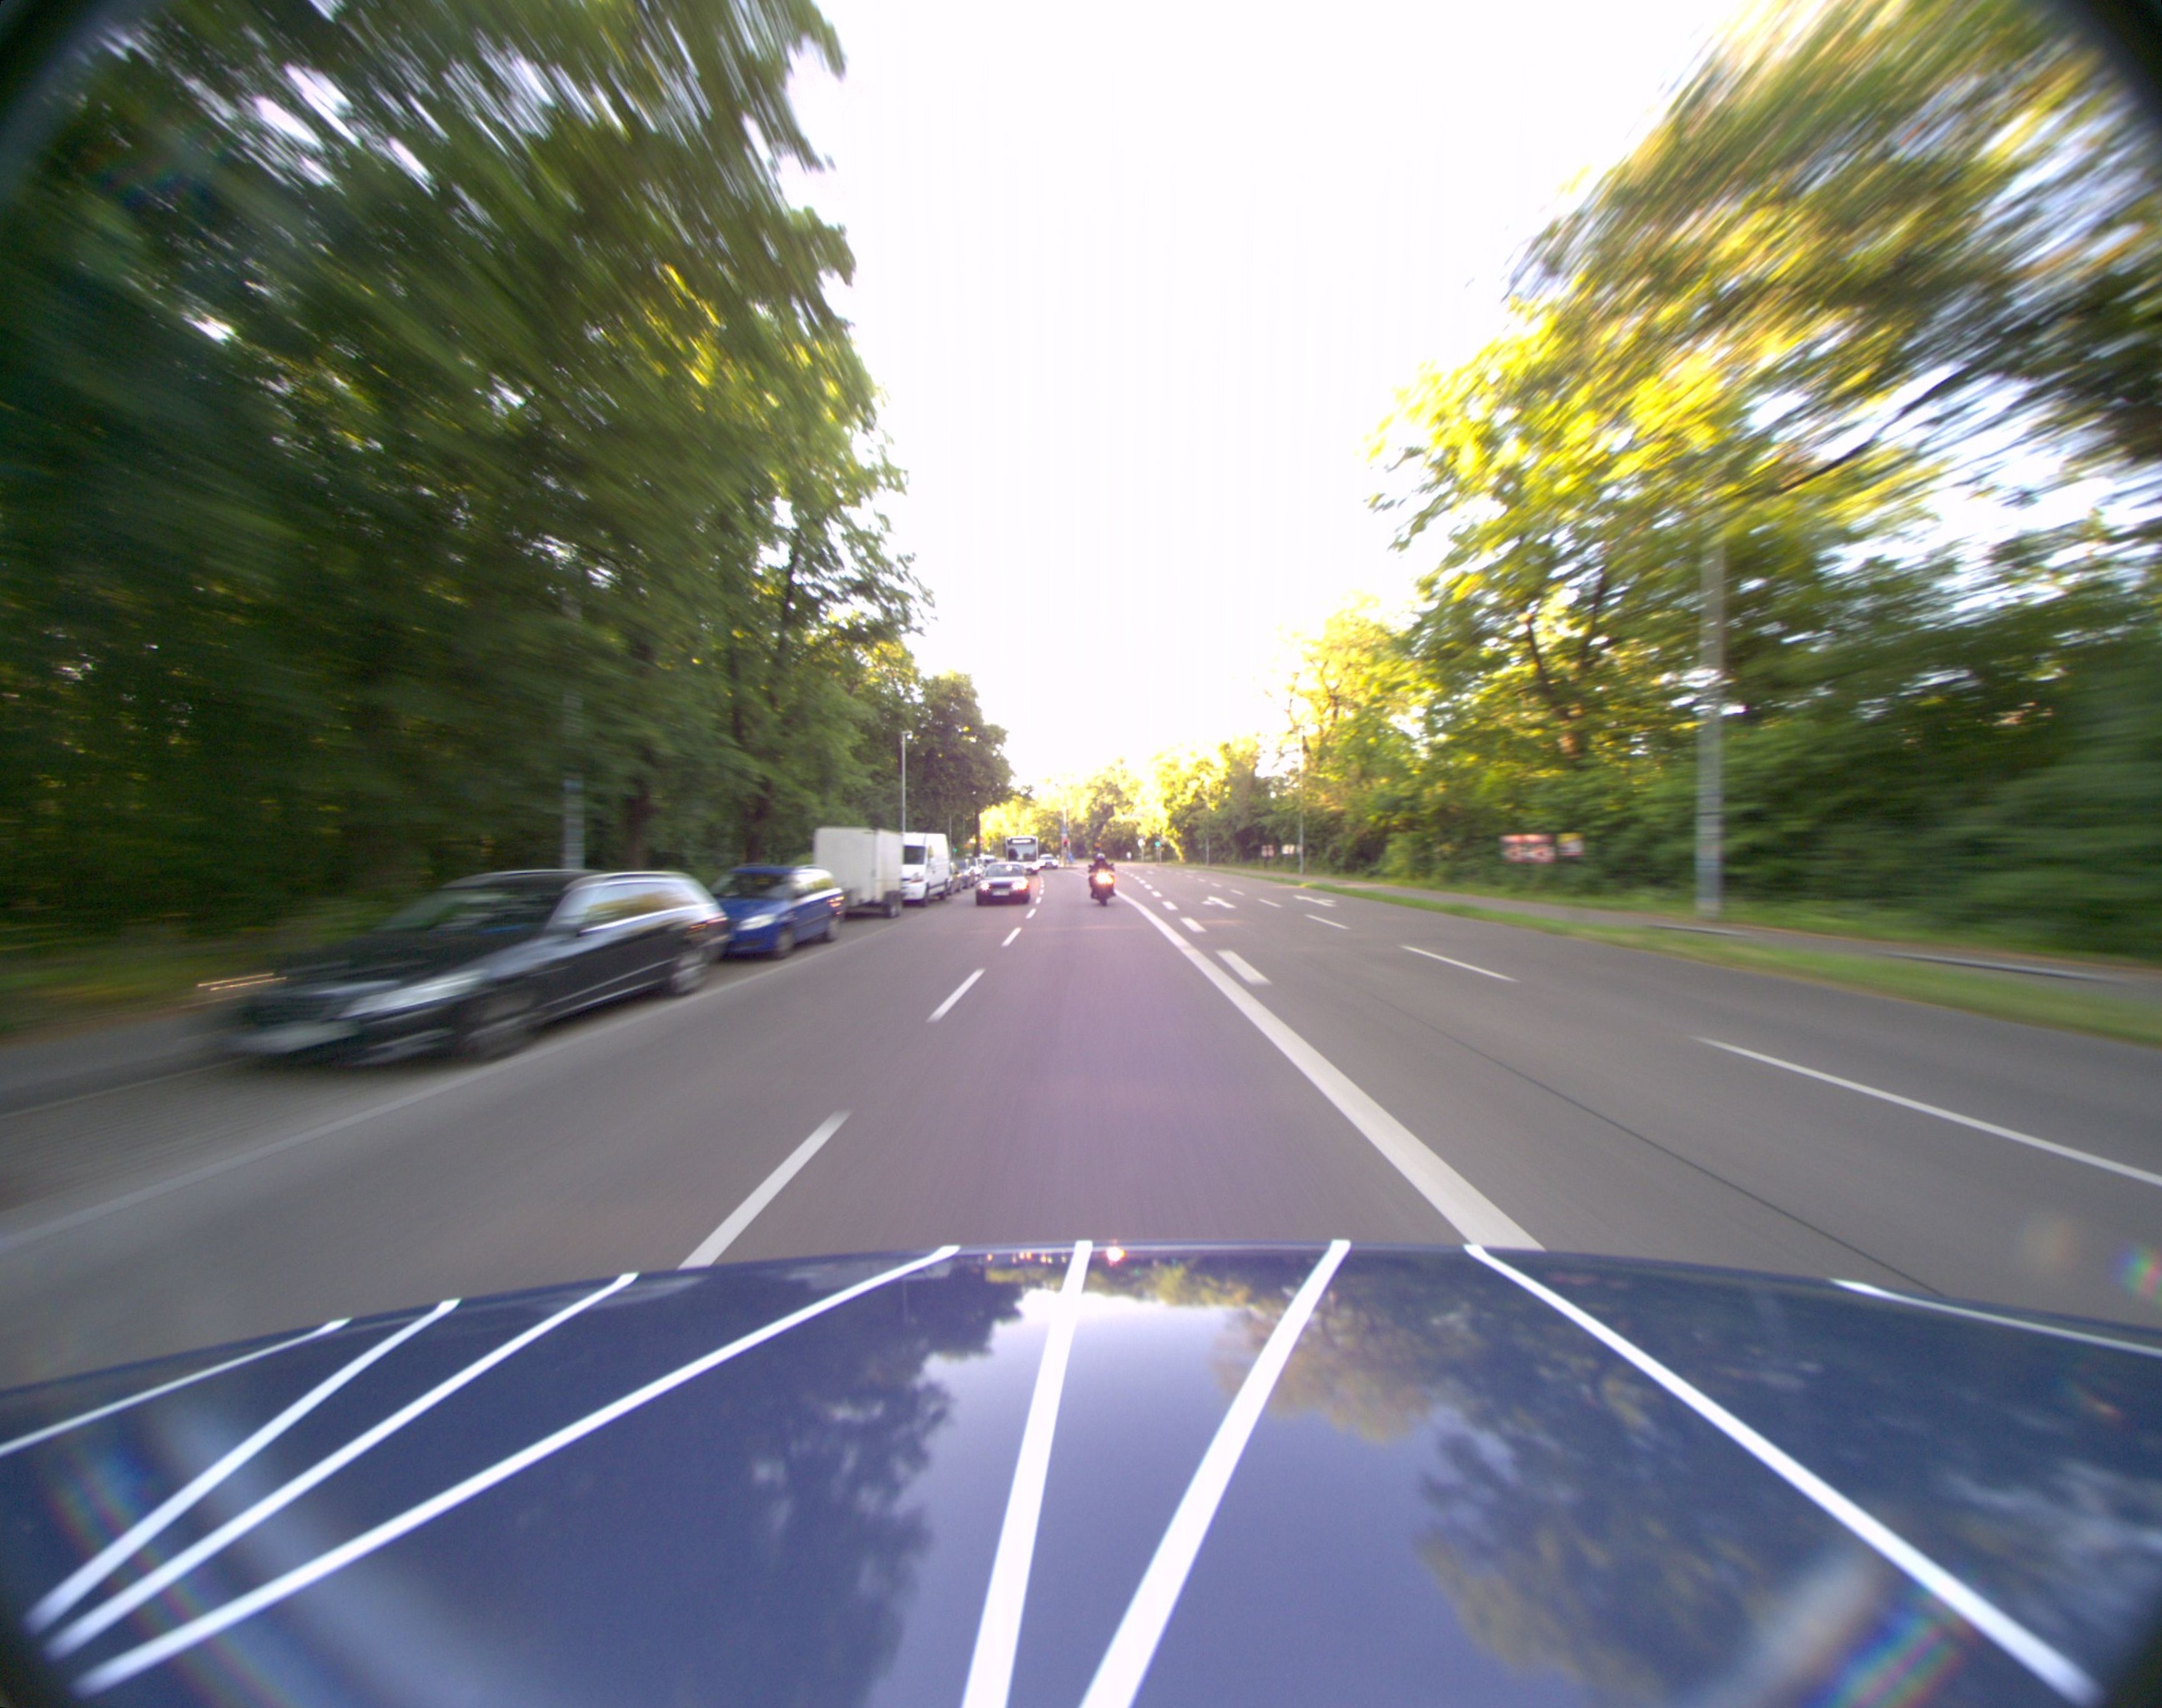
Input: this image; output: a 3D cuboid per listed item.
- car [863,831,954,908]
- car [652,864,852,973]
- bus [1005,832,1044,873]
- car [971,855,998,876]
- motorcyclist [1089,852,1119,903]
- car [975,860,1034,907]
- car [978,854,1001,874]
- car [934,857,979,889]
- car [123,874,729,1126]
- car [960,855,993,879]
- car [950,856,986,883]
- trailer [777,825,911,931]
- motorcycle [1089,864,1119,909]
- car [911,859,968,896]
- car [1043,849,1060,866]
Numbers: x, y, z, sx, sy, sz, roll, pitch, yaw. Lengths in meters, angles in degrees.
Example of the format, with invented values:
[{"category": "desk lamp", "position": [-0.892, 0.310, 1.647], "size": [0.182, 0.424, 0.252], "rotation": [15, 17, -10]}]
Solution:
[{"category": "car", "position": [-5.868, 0.463, 26.574], "size": [1.909, 2.409, 5.574], "rotation": [0, 1, 0]}, {"category": "car", "position": [-5.600, 1.005, 13.615], "size": [1.682, 1.526, 4.352], "rotation": [0, 1, 0]}, {"category": "bus", "position": [-4.686, -0.145, 64.673], "size": [2.813, 3.030, 12.881], "rotation": [-2, 0, -3]}, {"category": "car", "position": [-6.949, 0.778, 55.022], "size": [1.723, 1.403, 4.485], "rotation": [0, 1, -4]}, {"category": "motorcyclist", "position": [0.692, 0.703, 23.104], "size": [0.830, 1.484, 1.024], "rotation": [-1, 1, 1]}, {"category": "car", "position": [-2.550, 0.962, 26.212], "size": [1.679, 1.351, 3.993], "rotation": [-2, 1, -1]}, {"category": "car", "position": [-7.208, 0.758, 60.291], "size": [1.723, 1.403, 4.484], "rotation": [0, 1, -5]}, {"category": "car", "position": [-6.176, 0.899, 38.164], "size": [1.682, 1.455, 4.065], "rotation": [0, 1, -1]}, {"category": "car", "position": [-5.590, 1.060, 7.649], "size": [1.763, 1.526, 4.988], "rotation": [0, 1, 0]}, {"category": "car", "position": [-6.800, 0.811, 49.857], "size": [1.722, 1.403, 4.905], "rotation": [0, 1, -2]}, {"category": "car", "position": [-6.528, 0.846, 44.188], "size": [1.682, 1.455, 3.687], "rotation": [0, 1, -2]}, {"category": "trailer", "position": [-5.938, 0.508, 19.790], "size": [1.909, 2.409, 5.125], "rotation": [0, 1, 0]}, {"category": "motorcycle", "position": [0.687, 0.962, 23.110], "size": [0.830, 1.212, 2.603], "rotation": [-1, 1, 1]}, {"category": "car", "position": [-6.016, 0.945, 32.770], "size": [1.682, 1.392, 4.649], "rotation": [0, 1, -1]}, {"category": "car", "position": [-3.044, 0.343, 78.166], "size": [1.679, 1.552, 3.992], "rotation": [-2, 1, -3]}]
